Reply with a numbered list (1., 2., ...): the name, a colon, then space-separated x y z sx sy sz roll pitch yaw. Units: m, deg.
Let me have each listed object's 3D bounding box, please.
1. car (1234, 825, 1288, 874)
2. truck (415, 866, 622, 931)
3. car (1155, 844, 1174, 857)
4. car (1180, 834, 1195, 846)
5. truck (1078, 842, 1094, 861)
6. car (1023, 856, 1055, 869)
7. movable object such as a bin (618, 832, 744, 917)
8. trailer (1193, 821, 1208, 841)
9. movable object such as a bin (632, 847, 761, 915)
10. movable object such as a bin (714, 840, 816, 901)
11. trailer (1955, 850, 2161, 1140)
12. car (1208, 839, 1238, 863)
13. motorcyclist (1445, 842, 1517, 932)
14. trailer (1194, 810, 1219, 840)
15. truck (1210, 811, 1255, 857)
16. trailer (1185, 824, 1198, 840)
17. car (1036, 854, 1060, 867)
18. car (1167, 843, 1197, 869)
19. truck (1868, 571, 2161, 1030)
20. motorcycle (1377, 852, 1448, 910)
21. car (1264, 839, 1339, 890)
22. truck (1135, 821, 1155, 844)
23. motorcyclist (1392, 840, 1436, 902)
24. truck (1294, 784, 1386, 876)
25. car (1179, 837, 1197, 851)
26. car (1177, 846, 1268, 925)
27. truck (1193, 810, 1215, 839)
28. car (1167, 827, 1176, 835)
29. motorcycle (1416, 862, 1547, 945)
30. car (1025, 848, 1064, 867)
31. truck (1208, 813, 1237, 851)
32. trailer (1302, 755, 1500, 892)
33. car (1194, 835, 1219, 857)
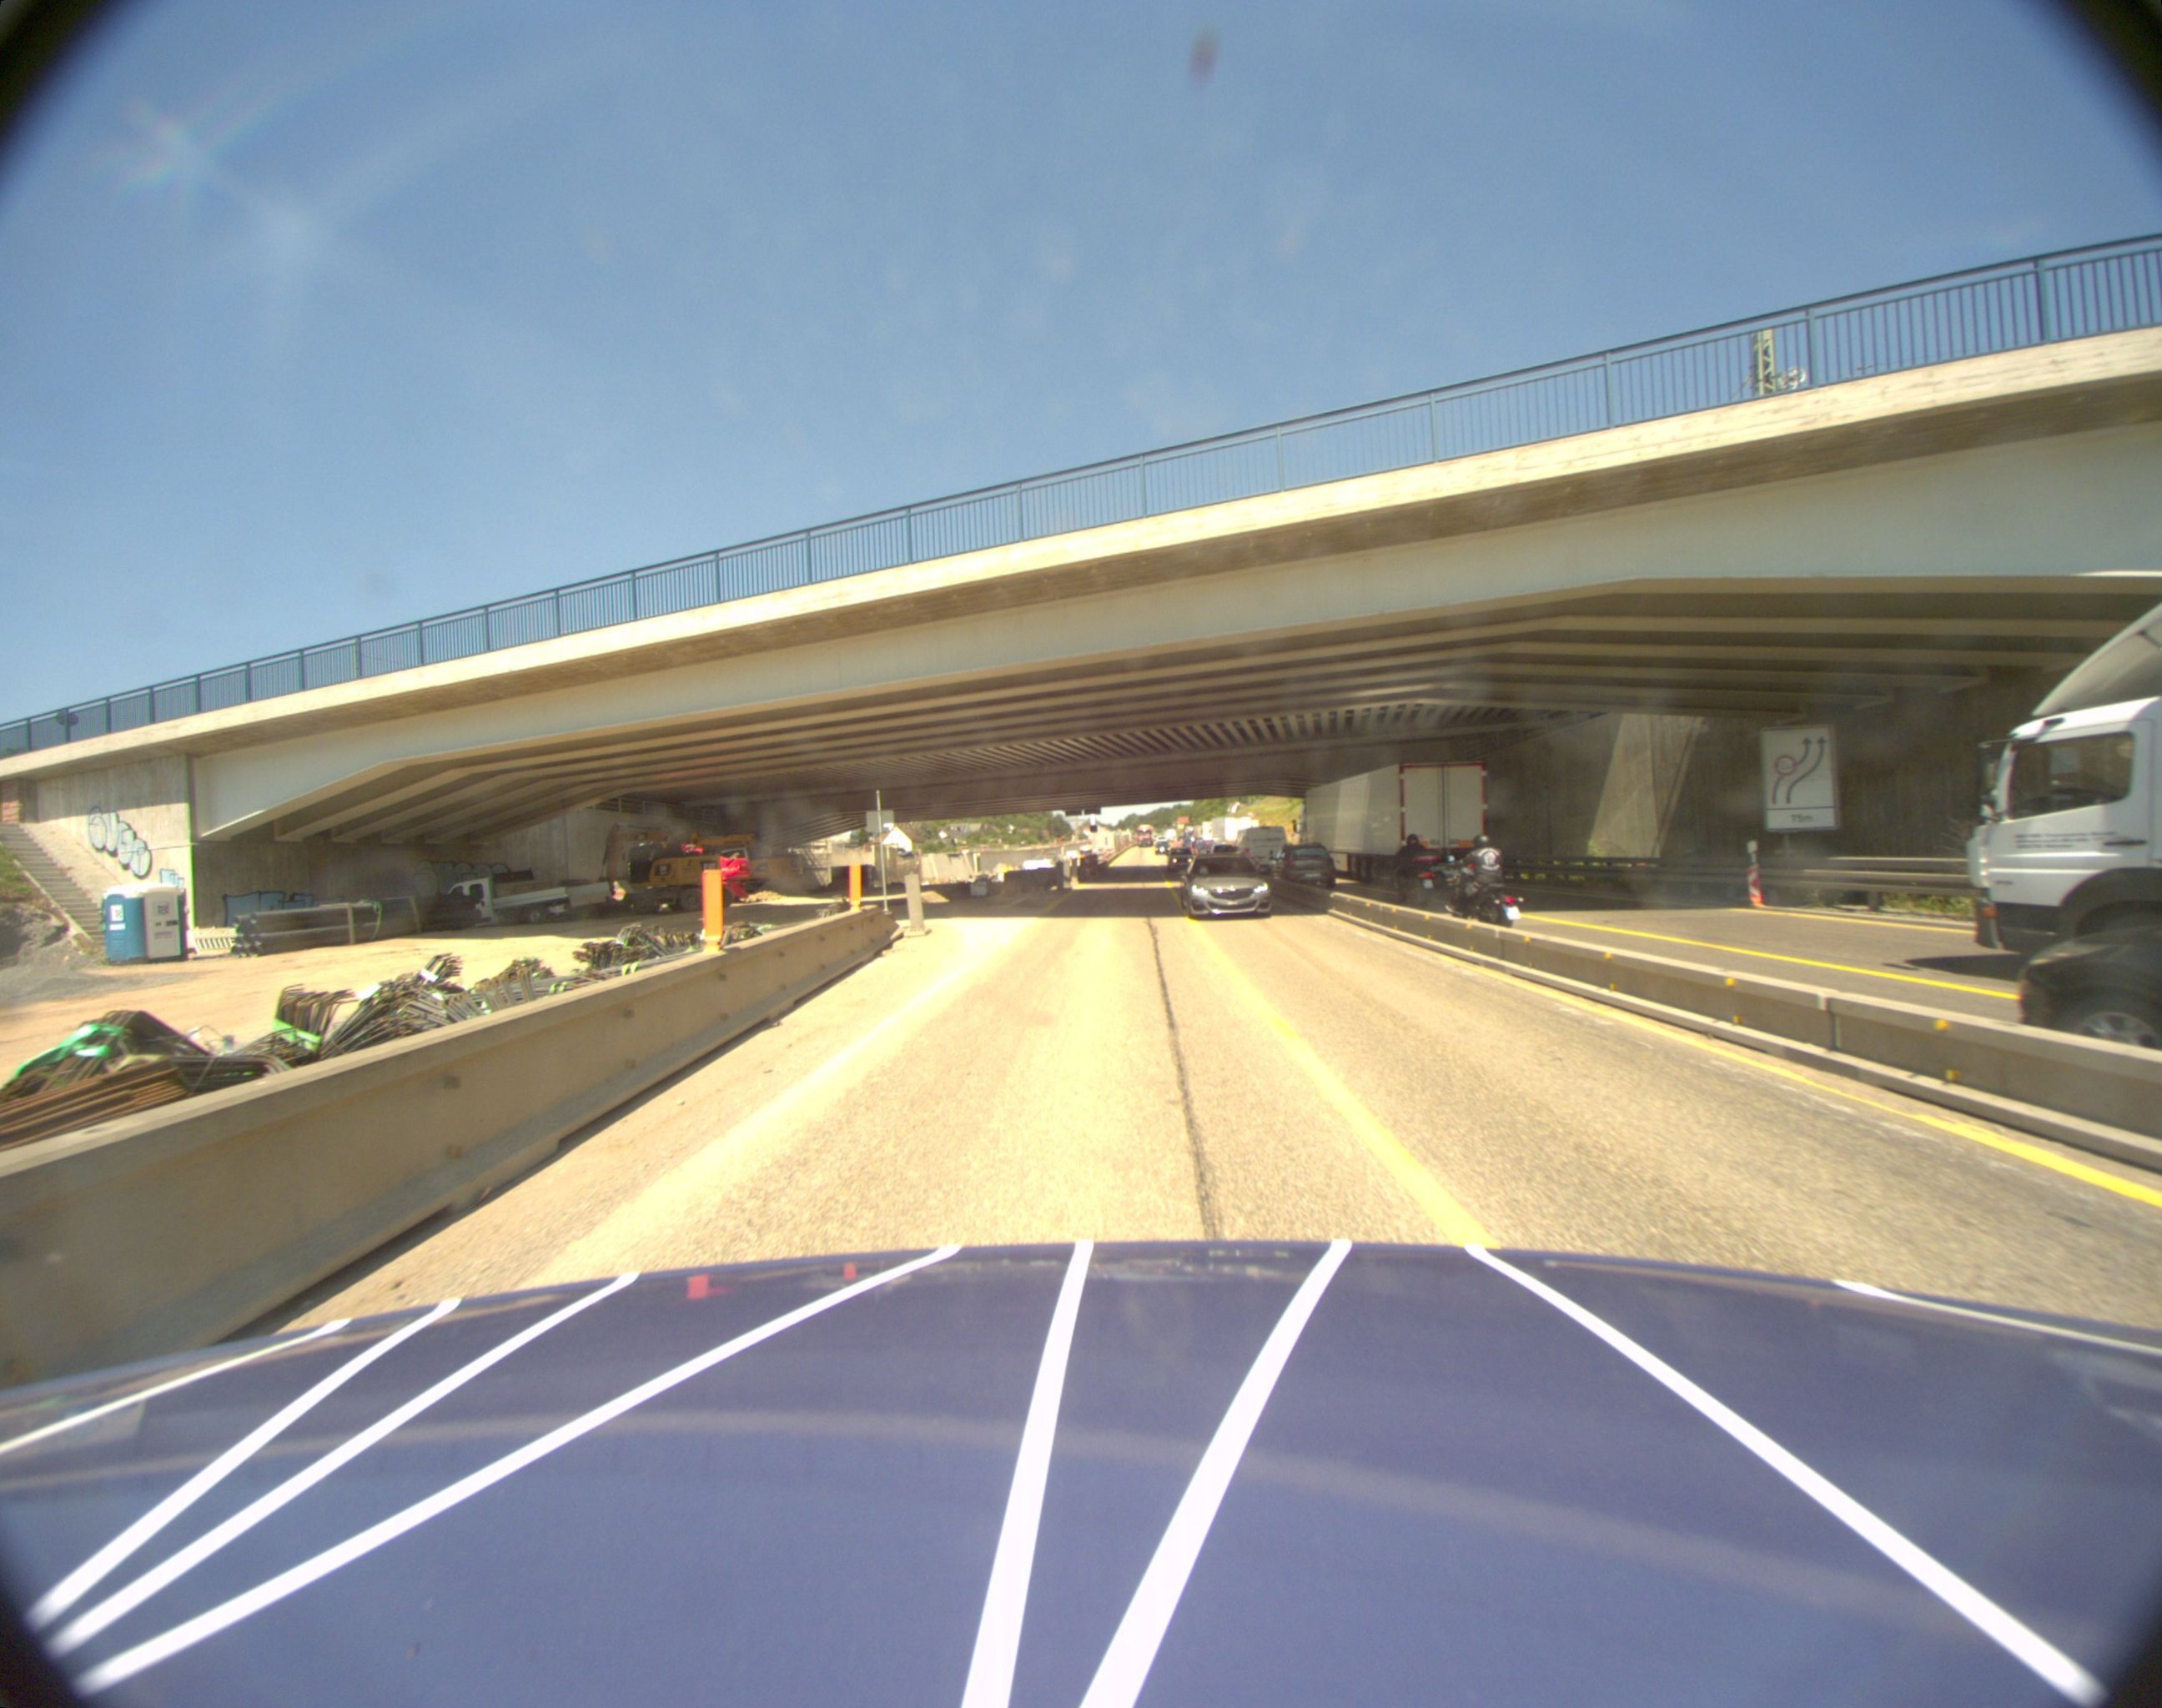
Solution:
1. car: 9.256 -0.279 39.515 1.984 2.317 6.059 -2 1 7
2. truck: -22.301 1.727 30.259 6.533 2.061 2.667 -3 1 8
3. car: 10.268 -0.416 93.420 1.801 1.543 3.999 -3 0 0
4. car: 15.808 -2.126 112.734 1.859 1.519 4.773 -2 2 5
5. truck: 0.998 -0.503 150.506 2.503 3.386 5.436 -2 2 6
6. car: -6.673 1.397 122.154 4.799 1.759 1.720 -4 1 5
7. movable object such as a bin: -18.291 0.891 34.891 3.886 3.523 2.905 -3 2 16
8. trailer: 25.312 -4.920 160.676 2.660 3.795 11.824 -2 2 10
9. movable object such as a bin: -19.745 1.346 39.152 5.249 3.040 2.497 -4 2 9
10. movable object such as a bin: -19.223 0.939 46.389 4.562 3.269 2.991 -4 2 9
11. trailer: 6.343 0.735 2.780 1.668 1.423 3.999 -2 1 -1
12. car: 10.316 -0.218 55.386 1.752 1.600 4.142 -2 1 6
13. motorcyclist: 6.652 0.531 12.677 0.812 1.408 0.742 -2 3 3
14. trailer: 18.464 -4.343 112.012 2.818 4.151 8.243 -2 2 5
15. truck: 15.741 -2.219 80.042 2.775 4.290 13.488 -2 2 4
16. trailer: 27.786 -5.566 191.230 2.605 3.849 11.274 -2 2 7
17. car: -5.447 1.057 125.376 3.869 1.676 1.692 -4 2 0
18. car: 6.640 0.115 50.134 1.837 1.465 4.390 -2 2 7
19. truck: 9.834 -0.453 3.795 2.824 3.555 8.496 -3 0 -1
20. motorcycle: 7.990 0.606 18.463 0.704 1.272 2.735 -2 0 4
21. car: 7.843 0.336 27.419 1.750 1.661 4.080 -2 0 4
22. truck: 12.105 -4.155 143.691 3.462 4.025 10.210 -2 2 6
23. motorcyclist: 7.992 0.394 18.246 0.720 1.408 0.742 -2 3 3
24. truck: 12.489 -1.126 37.099 2.880 4.028 4.886 -4 1 4
25. car: 12.753 -1.179 90.658 1.726 1.600 4.524 -3 1 5
26. car: 3.253 0.654 18.158 1.837 1.588 4.391 -2 0 8
27. truck: 18.758 -4.494 115.874 2.804 4.127 4.073 -2 3 4
28. car: 28.399 -7.219 238.790 2.211 2.615 6.628 -2 2 5
29. motorcycle: 6.662 0.762 12.876 0.834 1.143 2.790 -2 1 2
30. car: -6.206 0.571 128.799 6.306 2.566 2.053 -5 1 -8
31. truck: 16.159 -2.537 86.914 2.665 4.148 5.186 -2 3 6
32. trailer: 11.857 -1.016 30.407 2.883 4.016 14.361 -4 0 5
33. car: 11.999 -0.813 72.865 1.804 1.922 4.968 -2 1 3
